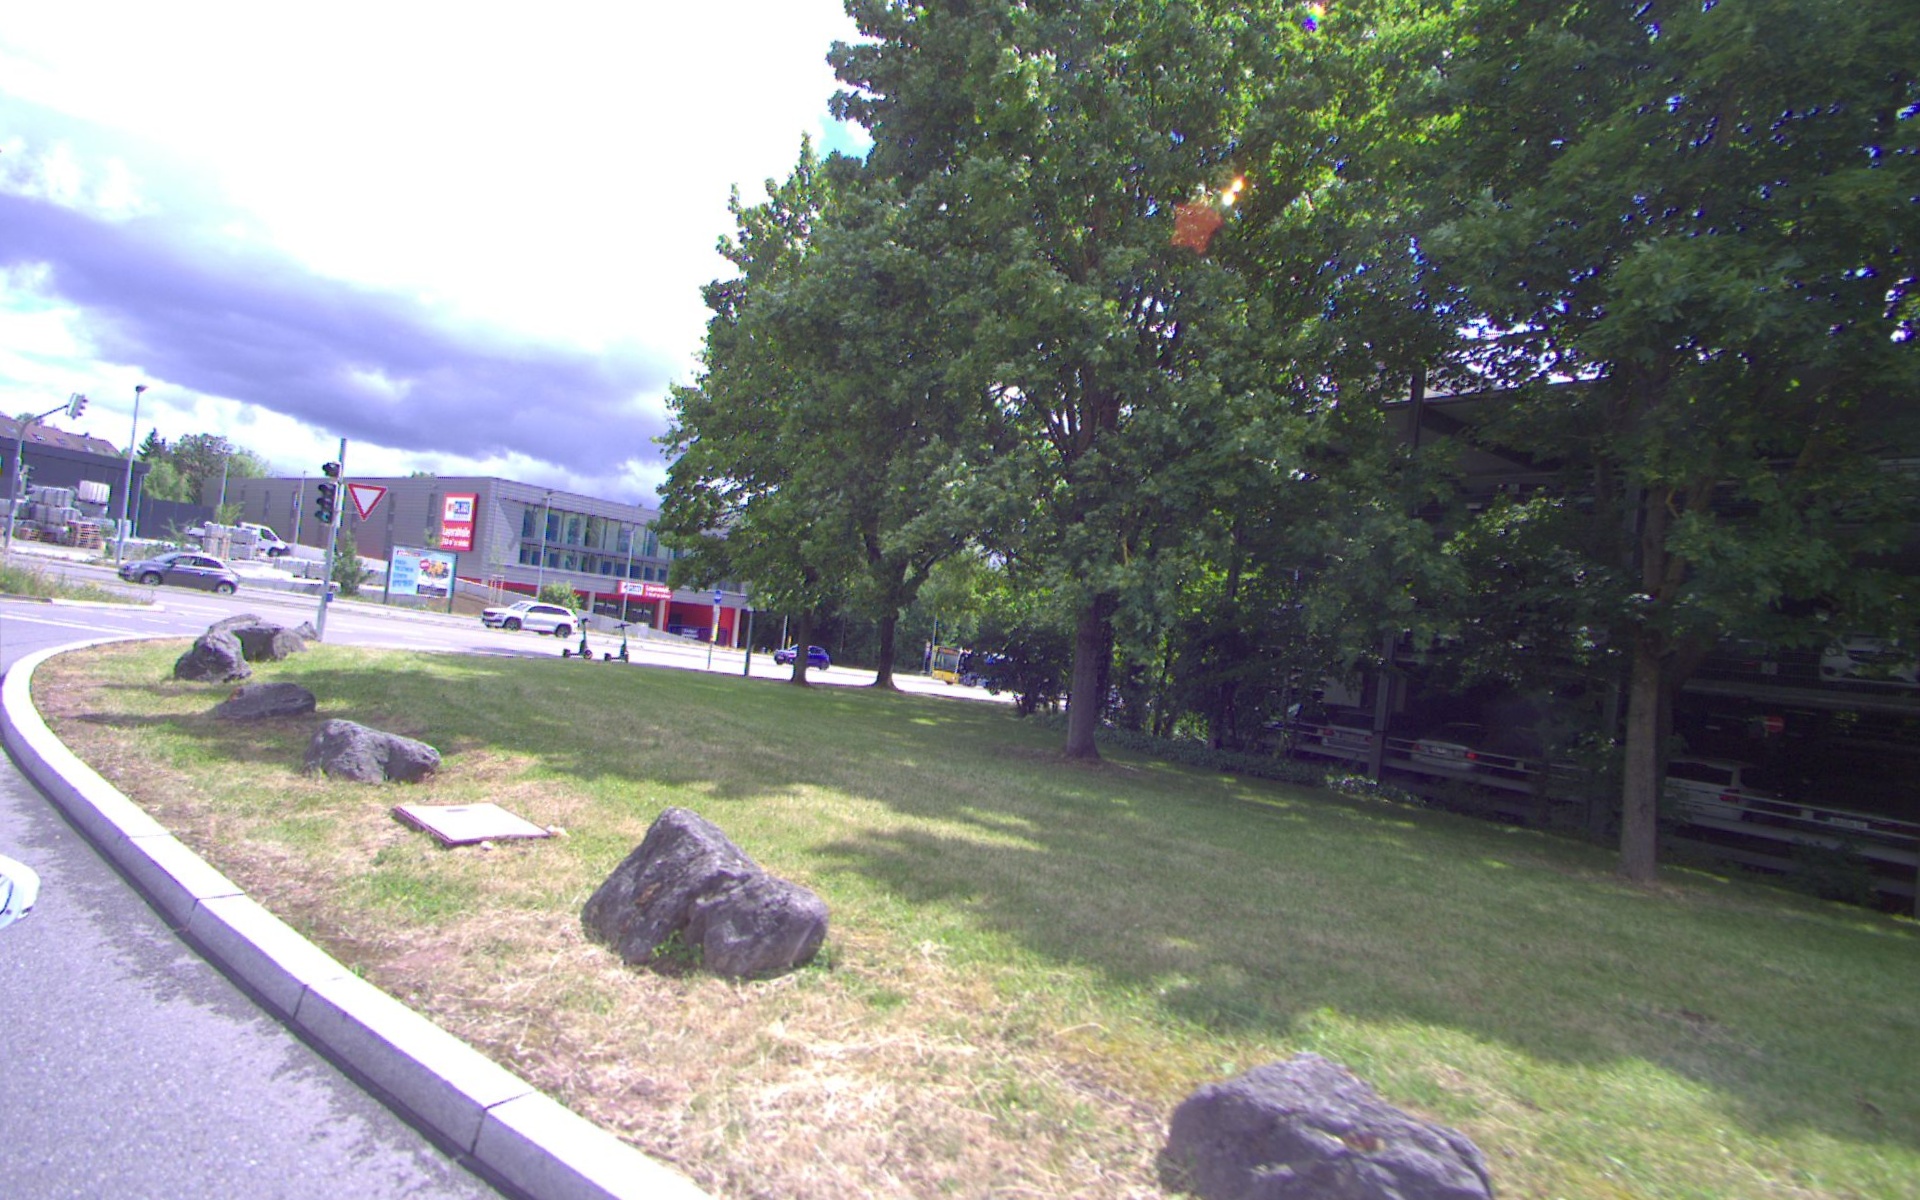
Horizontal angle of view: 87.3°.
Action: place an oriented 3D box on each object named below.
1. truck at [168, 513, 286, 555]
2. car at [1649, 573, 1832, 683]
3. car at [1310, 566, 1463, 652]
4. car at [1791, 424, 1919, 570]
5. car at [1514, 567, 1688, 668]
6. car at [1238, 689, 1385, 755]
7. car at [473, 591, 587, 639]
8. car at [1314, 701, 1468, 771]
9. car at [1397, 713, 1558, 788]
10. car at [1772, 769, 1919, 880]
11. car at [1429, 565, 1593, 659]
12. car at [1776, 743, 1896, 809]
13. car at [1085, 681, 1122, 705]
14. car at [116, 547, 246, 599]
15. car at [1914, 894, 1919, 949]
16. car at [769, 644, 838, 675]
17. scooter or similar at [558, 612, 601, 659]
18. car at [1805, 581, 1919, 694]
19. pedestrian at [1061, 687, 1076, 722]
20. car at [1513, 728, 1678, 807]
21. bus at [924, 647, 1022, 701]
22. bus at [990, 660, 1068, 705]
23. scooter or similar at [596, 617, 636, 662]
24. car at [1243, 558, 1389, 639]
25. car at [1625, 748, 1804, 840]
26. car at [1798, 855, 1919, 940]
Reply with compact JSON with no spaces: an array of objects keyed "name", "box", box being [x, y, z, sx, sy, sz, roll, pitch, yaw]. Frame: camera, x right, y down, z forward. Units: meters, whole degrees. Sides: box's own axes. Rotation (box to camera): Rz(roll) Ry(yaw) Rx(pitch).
[{"name":"truck","box":[-51.977,-4.678,71.453,6.532,2.173,1.977,6,0,-42]},{"name":"car","box":[15.152,0.566,19.486,3.672,1.561,1.709,8,1,-36]},{"name":"car","box":[10.620,0.232,24.993,3.672,1.561,1.709,8,1,-36]},{"name":"car","box":[16.756,-1.729,18.006,3.969,1.679,1.852,11,-4,-35]},{"name":"car","box":[13.482,0.391,21.098,3.672,1.561,1.709,8,1,-36]},{"name":"car","box":[9.302,3.225,26.531,3.767,1.307,1.759,8,-1,-37]},{"name":"car","box":[-21.178,0.782,49.748,1.706,1.676,4.895,7,-3,34]},{"name":"car","box":[10.655,3.366,24.784,3.767,1.307,1.759,8,-1,-37]},{"name":"car","box":[11.954,3.482,23.154,3.767,1.307,1.759,8,-1,-37]},{"name":"car","box":[15.965,3.859,17.623,3.767,1.409,1.759,8,-1,-37]},{"name":"car","box":[12.509,0.290,22.794,3.672,1.561,1.709,8,1,-36]},{"name":"car","box":[23.323,4.636,26.747,3.750,1.388,1.578,7,0,-37]},{"name":"car","box":[15.222,9.862,106.521,1.853,1.945,4.745,7,-3,34]},{"name":"car","box":[-29.173,-1.002,37.745,1.561,1.478,3.511,7,0,38]},{"name":"car","box":[24.509,7.723,24.187,3.750,1.388,1.623,7,0,-37]},{"name":"car","box":[-10.251,3.940,66.268,1.782,1.527,4.391,7,-3,35]},{"name":"scooter or similar","box":[-11.259,1.066,29.791,0.524,1.278,1.192,6,-3,10]},{"name":"car","box":[16.477,0.748,17.530,3.672,1.561,1.709,8,1,-36]},{"name":"pedestrian","box":[5.744,5.538,53.282,0.579,1.740,0.774,6,1,6]},{"name":"car","box":[13.954,3.671,22.031,3.767,1.307,1.759,8,-1,-37]},{"name":"bus","box":[1.274,6.282,84.515,2.780,3.319,10.111,7,-4,34]},{"name":"bus","box":[6.434,7.636,92.390,2.780,3.198,8.895,7,-3,34]},{"name":"scooter or similar","box":[-10.594,1.220,30.990,0.524,1.278,1.192,6,-3,10]},{"name":"car","box":[9.434,-0.030,26.566,3.672,1.561,1.709,8,1,-36]},{"name":"car","box":[14.749,3.752,19.613,3.767,1.307,1.759,8,-1,-37]},{"name":"car","box":[23.189,7.585,25.884,3.750,1.388,1.623,7,0,-37]}]
